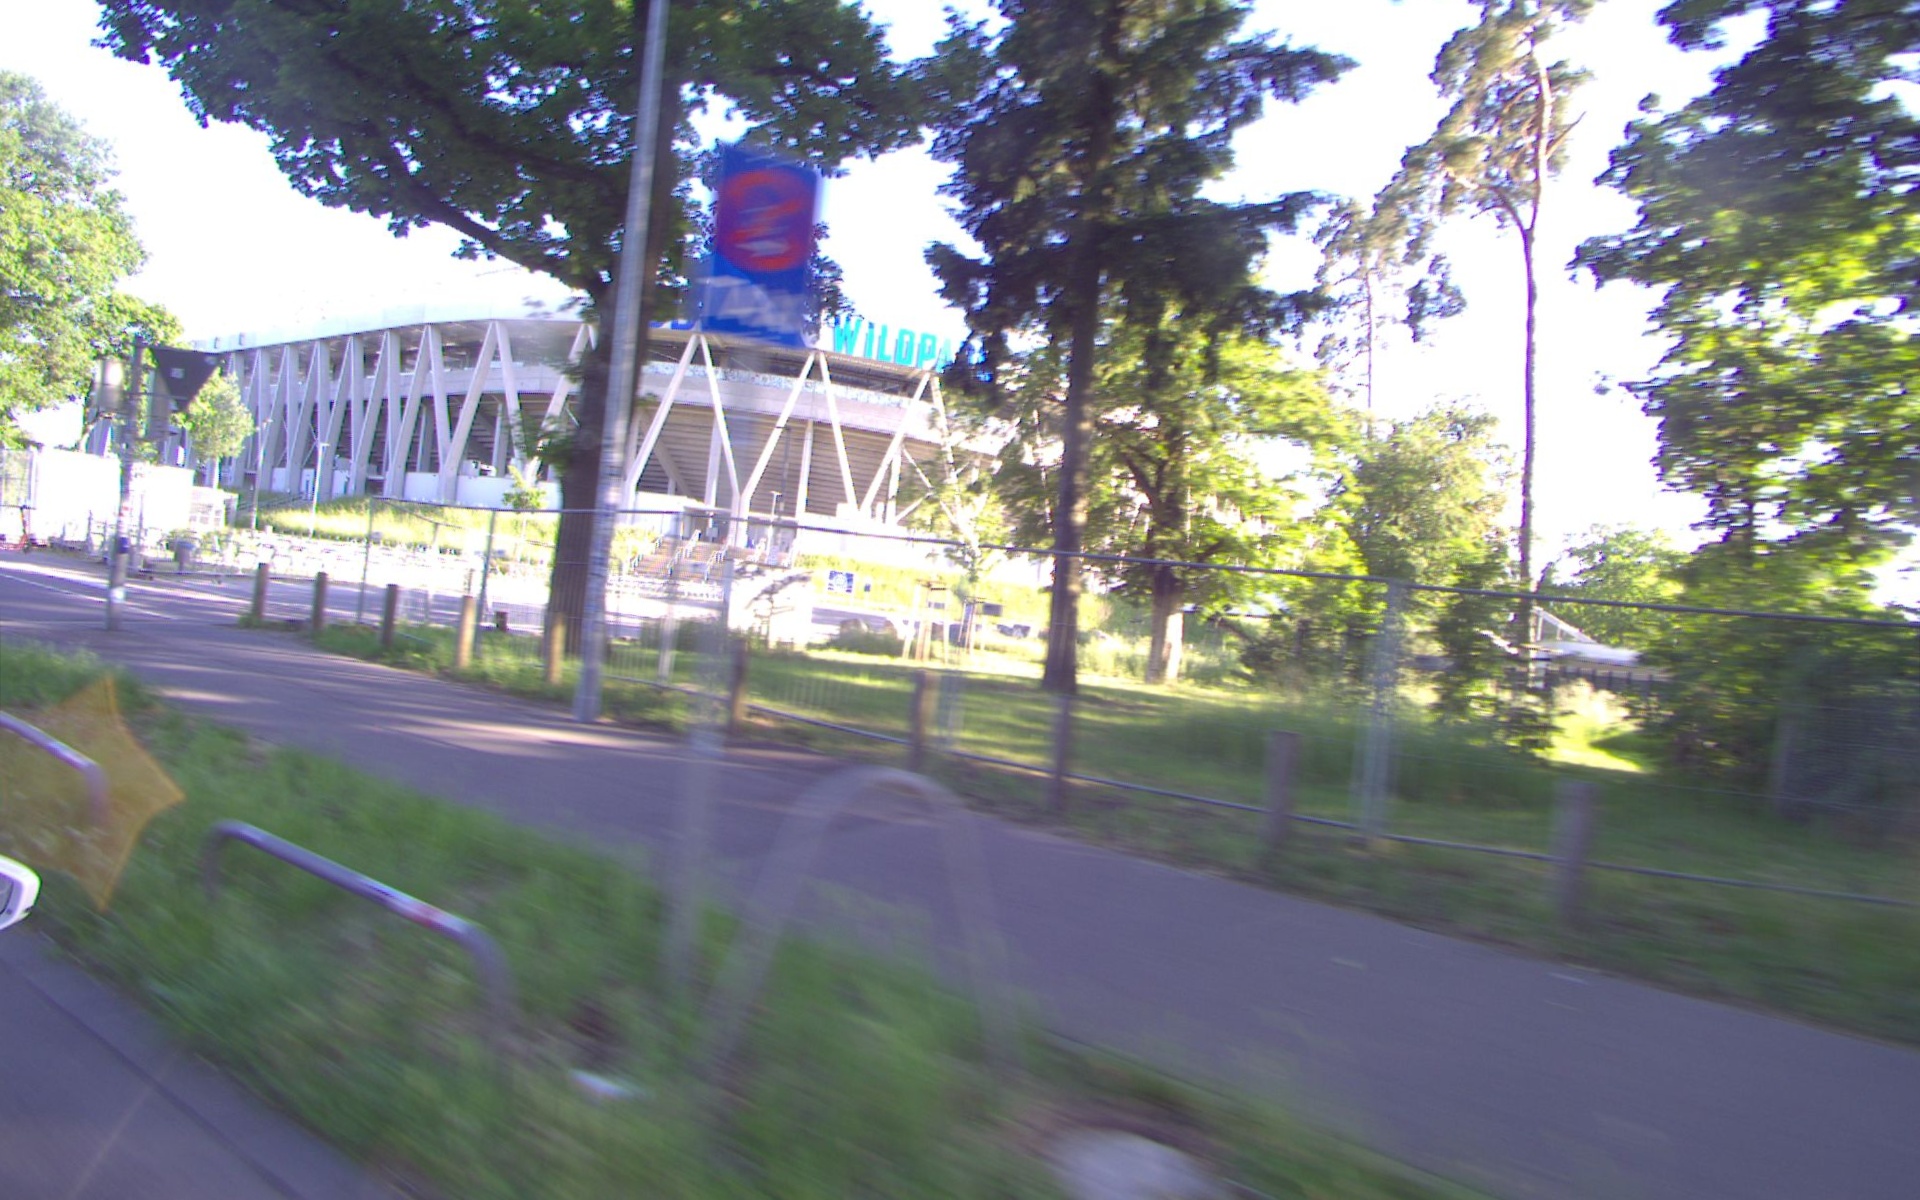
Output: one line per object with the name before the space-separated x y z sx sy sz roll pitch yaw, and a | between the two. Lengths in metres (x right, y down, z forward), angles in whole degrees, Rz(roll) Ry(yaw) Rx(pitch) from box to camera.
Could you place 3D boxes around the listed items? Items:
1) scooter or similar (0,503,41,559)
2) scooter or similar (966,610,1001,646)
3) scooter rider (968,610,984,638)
scooter or similar | -23.765 -1.726 25.001 0.594 1.303 1.359 8 -1 -11
scooter or similar | 1.149 1.344 48.473 1.500 1.507 0.648 7 -2 2
scooter rider | 0.790 1.159 48.493 0.595 1.288 0.546 7 -2 3
